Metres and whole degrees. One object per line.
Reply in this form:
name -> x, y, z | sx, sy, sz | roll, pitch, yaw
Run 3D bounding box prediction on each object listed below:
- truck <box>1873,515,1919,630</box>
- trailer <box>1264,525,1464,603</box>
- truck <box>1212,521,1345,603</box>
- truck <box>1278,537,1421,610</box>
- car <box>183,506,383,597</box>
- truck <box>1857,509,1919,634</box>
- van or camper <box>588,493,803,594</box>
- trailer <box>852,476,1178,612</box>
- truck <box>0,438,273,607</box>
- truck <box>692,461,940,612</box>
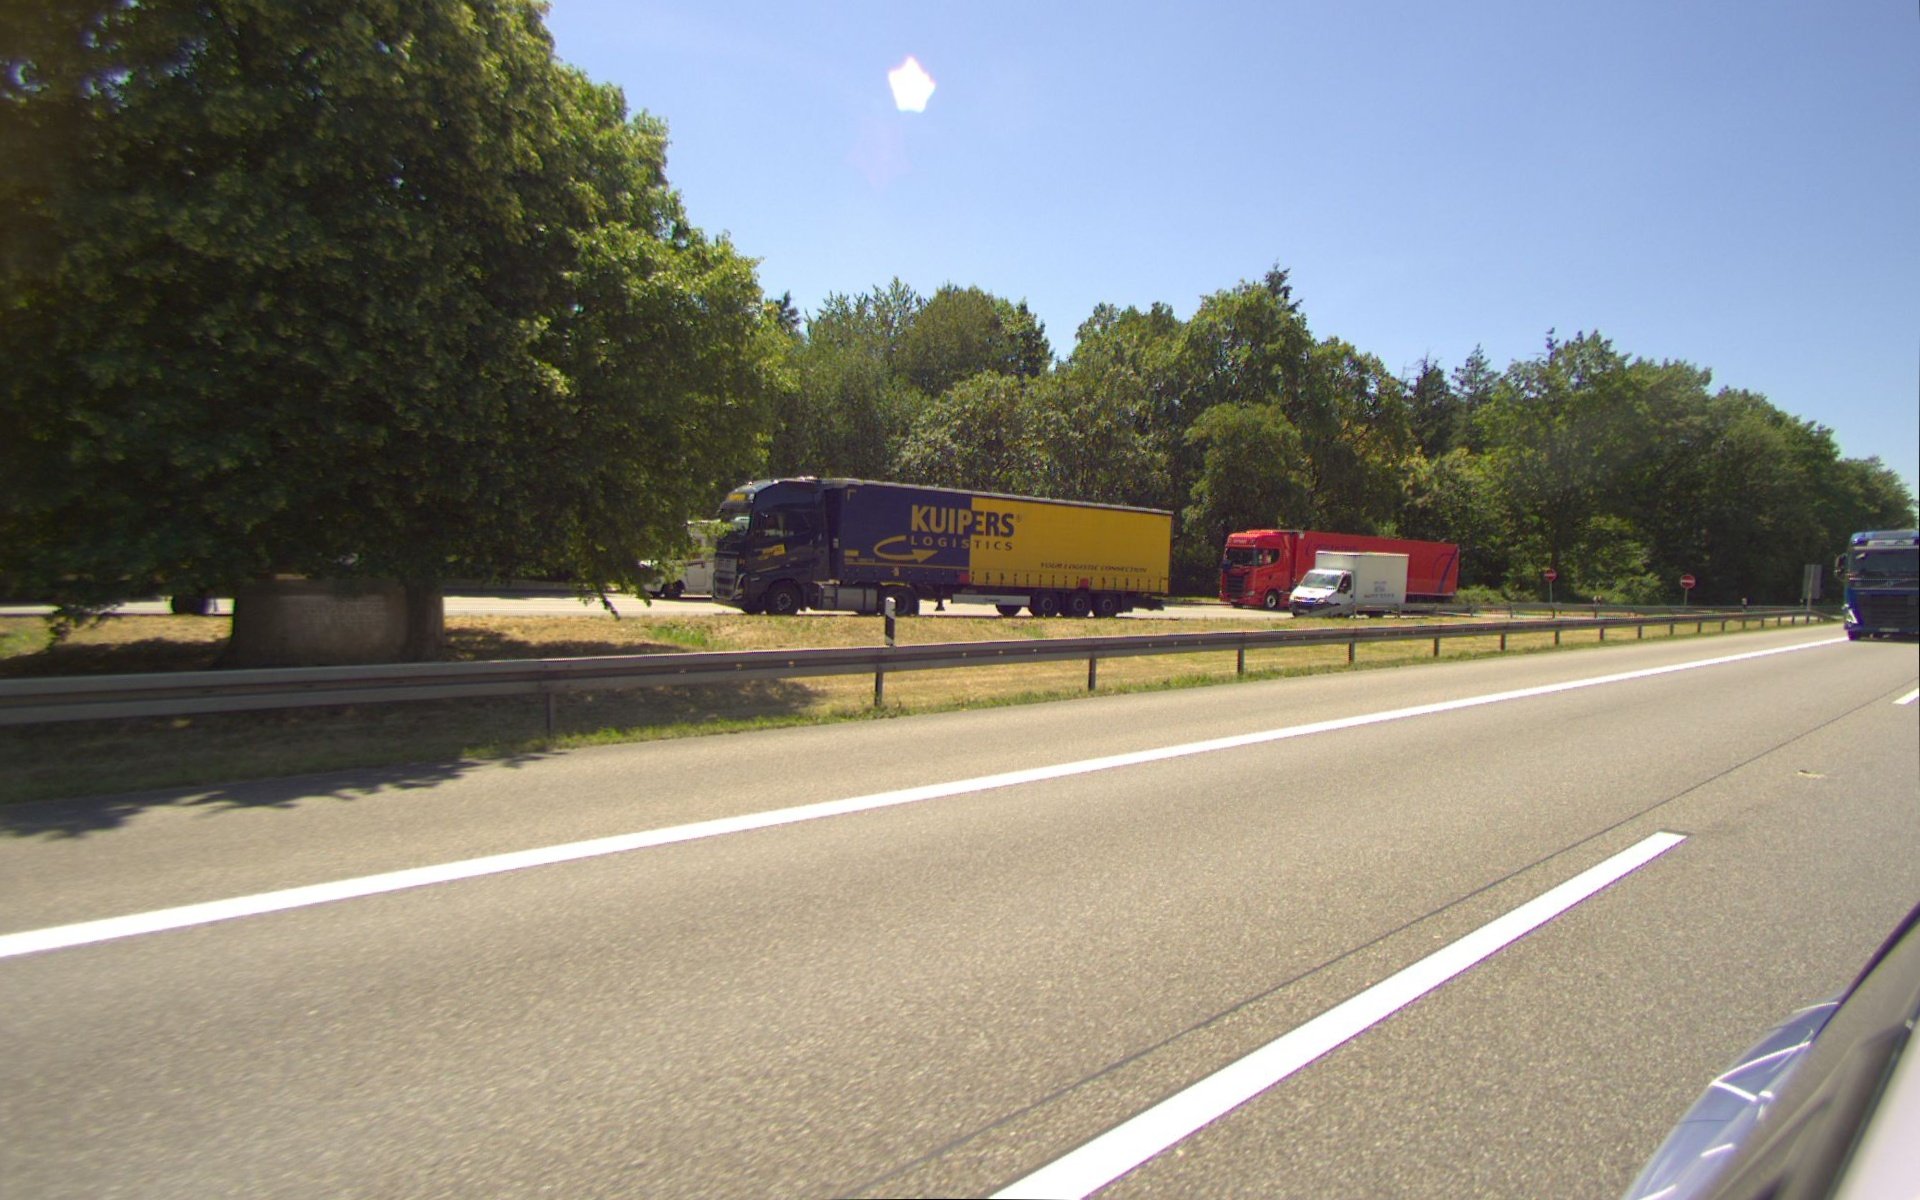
truck -> 37.816, -1.009, 39.212 | 10.358, 4.094, 2.447 | 0, 1, -41
trailer -> 22.353, -1.861, 55.558 | 12.630, 3.926, 2.993 | 0, 2, -30
truck -> 16.414, -1.908, 52.130 | 6.288, 3.929, 2.993 | 1, 1, -30
truck -> 17.245, -1.124, 44.548 | 7.521, 2.983, 2.474 | 0, 1, -39
car -> -19.544, -1.357, 29.489 | 4.685, 2.469, 2.002 | 0, 2, -32
truck -> 32.609, -0.958, 34.594 | 4.001, 4.088, 2.453 | 0, 1, -42
van or camper -> -9.451, -1.943, 36.442 | 6.864, 3.274, 3.011 | 0, 2, -33
trailer -> 2.140, -1.705, 34.125 | 11.327, 3.984, 3.196 | 0, 1, -34
truck -> -17.731, -1.452, 20.319 | 6.491, 3.125, 2.476 | 0, 0, -35
truck -> -4.185, -1.715, 29.855 | 6.489, 3.984, 3.196 | 0, 1, -34
